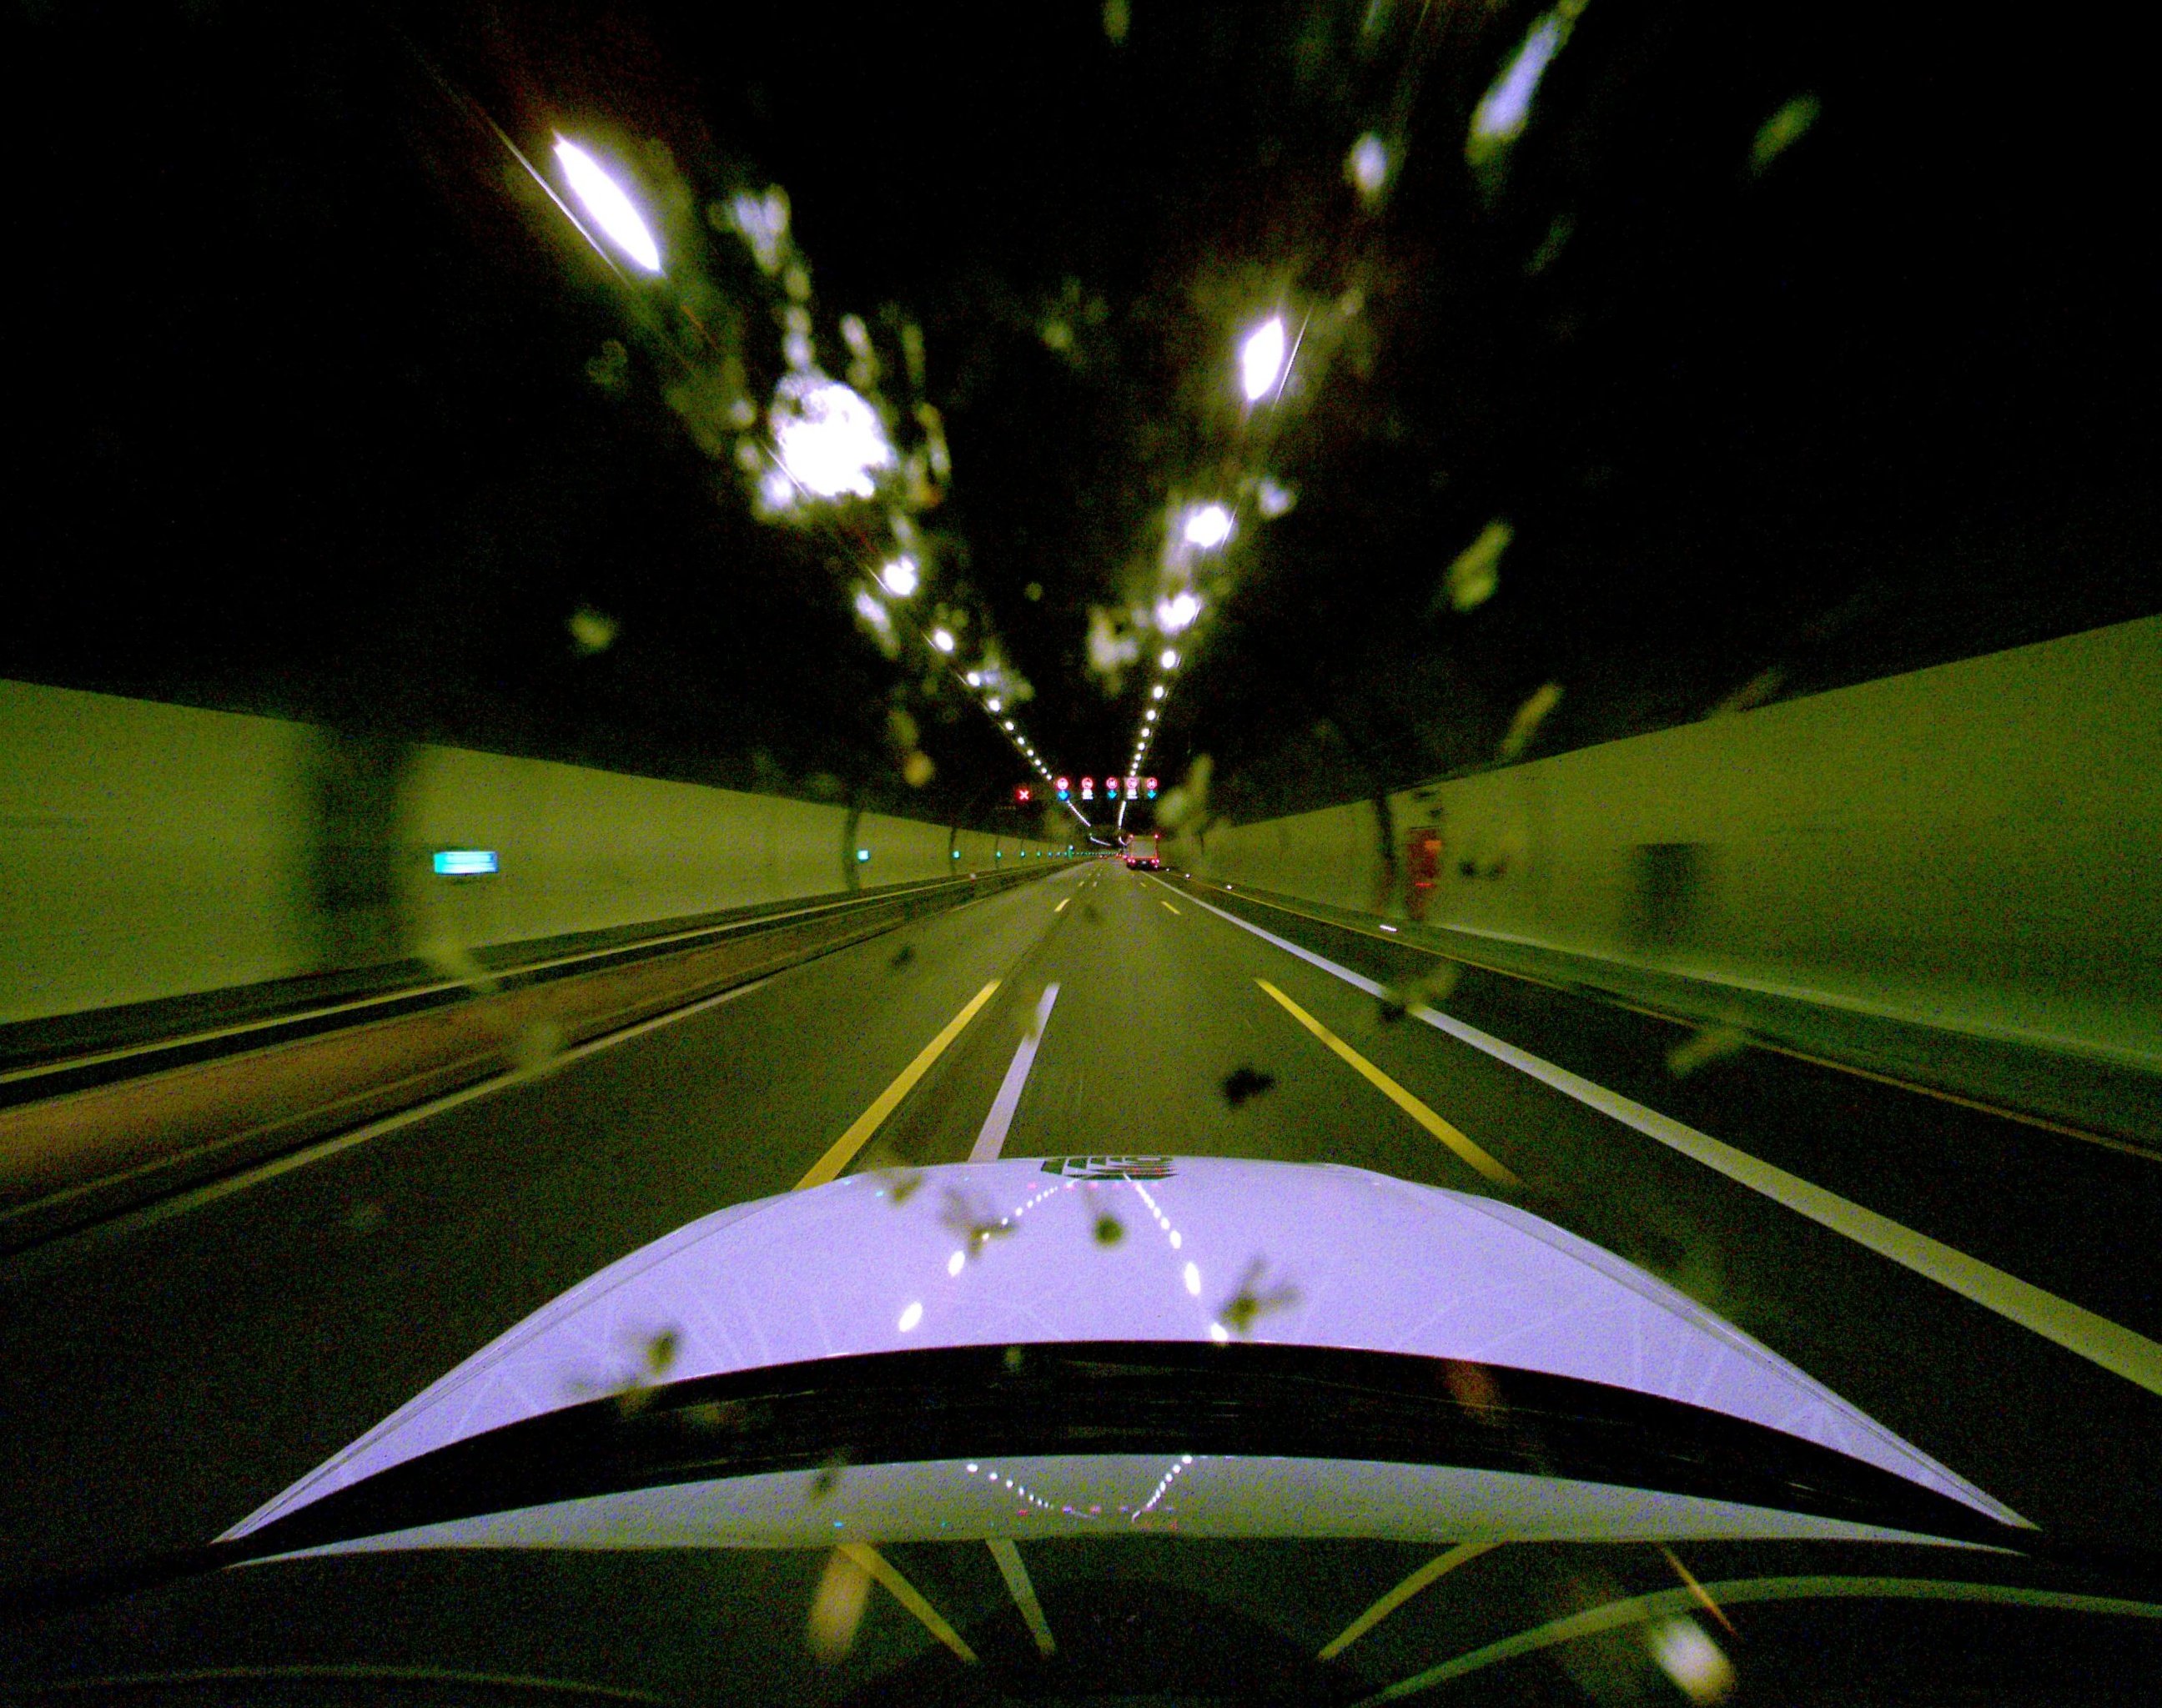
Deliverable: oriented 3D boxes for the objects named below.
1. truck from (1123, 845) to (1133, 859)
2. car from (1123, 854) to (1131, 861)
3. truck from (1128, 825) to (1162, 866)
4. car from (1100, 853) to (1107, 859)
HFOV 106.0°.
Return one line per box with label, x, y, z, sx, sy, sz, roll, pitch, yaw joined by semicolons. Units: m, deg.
truck;13.868;-0.649;240.071;3.053;3.918;10.377;0;-1;4
car;9.777;0.678;172.814;1.732;1.461;3.964;0;1;4
truck;6.475;-0.772;83.483;3.079;3.918;10.374;0;-1;3
car;6.024;0.493;214.477;1.751;1.461;4.121;0;1;3
